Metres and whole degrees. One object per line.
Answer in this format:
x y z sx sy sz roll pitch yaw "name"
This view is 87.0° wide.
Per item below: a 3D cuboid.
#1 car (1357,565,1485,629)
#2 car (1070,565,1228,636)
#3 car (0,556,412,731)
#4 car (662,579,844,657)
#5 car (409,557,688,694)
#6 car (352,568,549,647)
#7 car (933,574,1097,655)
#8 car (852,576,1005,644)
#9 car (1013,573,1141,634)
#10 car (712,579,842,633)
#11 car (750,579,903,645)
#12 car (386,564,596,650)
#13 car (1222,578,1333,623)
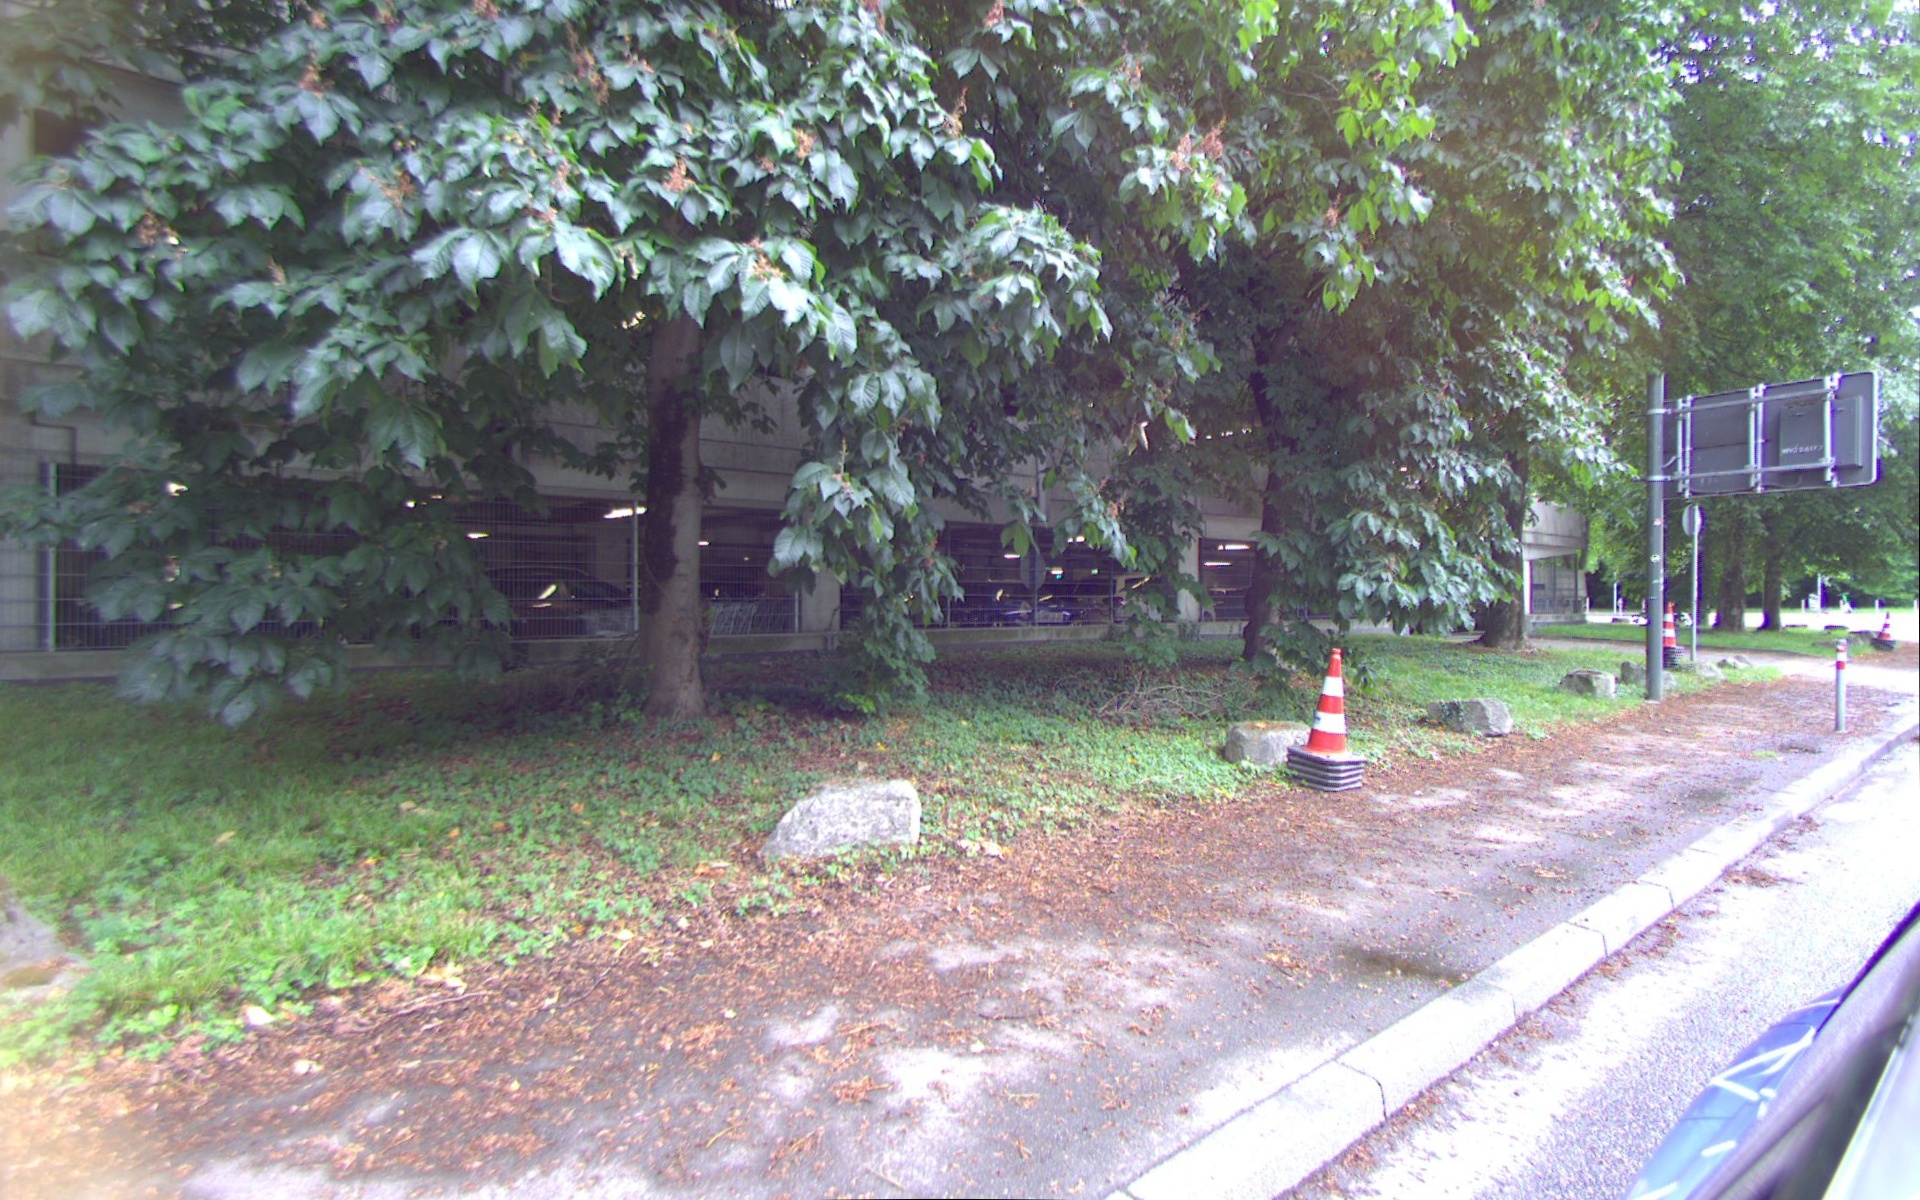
14.542 -0.092 31.808 4.653 1.858 1.922 -1 0 -41 "car"
5.074 -0.037 26.820 4.587 1.730 1.588 -2 0 -41 "car"
-10.334 0.466 13.897 4.594 2.039 1.996 -2 0 -41 "car"
-4.591 0.355 22.700 3.639 1.565 1.718 -2 1 -42 "car"
-6.874 0.338 17.083 3.929 2.039 1.997 -2 0 -40 "car"
-11.446 0.130 22.847 3.639 1.627 1.718 -2 1 -42 "car"
1.351 0.286 23.807 3.791 1.730 1.588 -2 0 -41 "car"
-0.764 0.218 25.800 3.639 1.565 1.718 -2 1 -42 "car"
3.447 0.074 29.414 3.629 1.606 1.718 -2 1 -42 "car"
-5.718 0.168 31.860 3.638 1.565 1.719 -2 1 -41 "car"
-3.452 0.284 26.544 3.639 1.565 1.718 -2 1 -42 "car"
-9.757 0.101 21.203 3.639 1.627 1.718 -2 1 -42 "car"
11.361 -0.001 36.145 3.927 1.471 1.876 -2 1 -38 "car"
